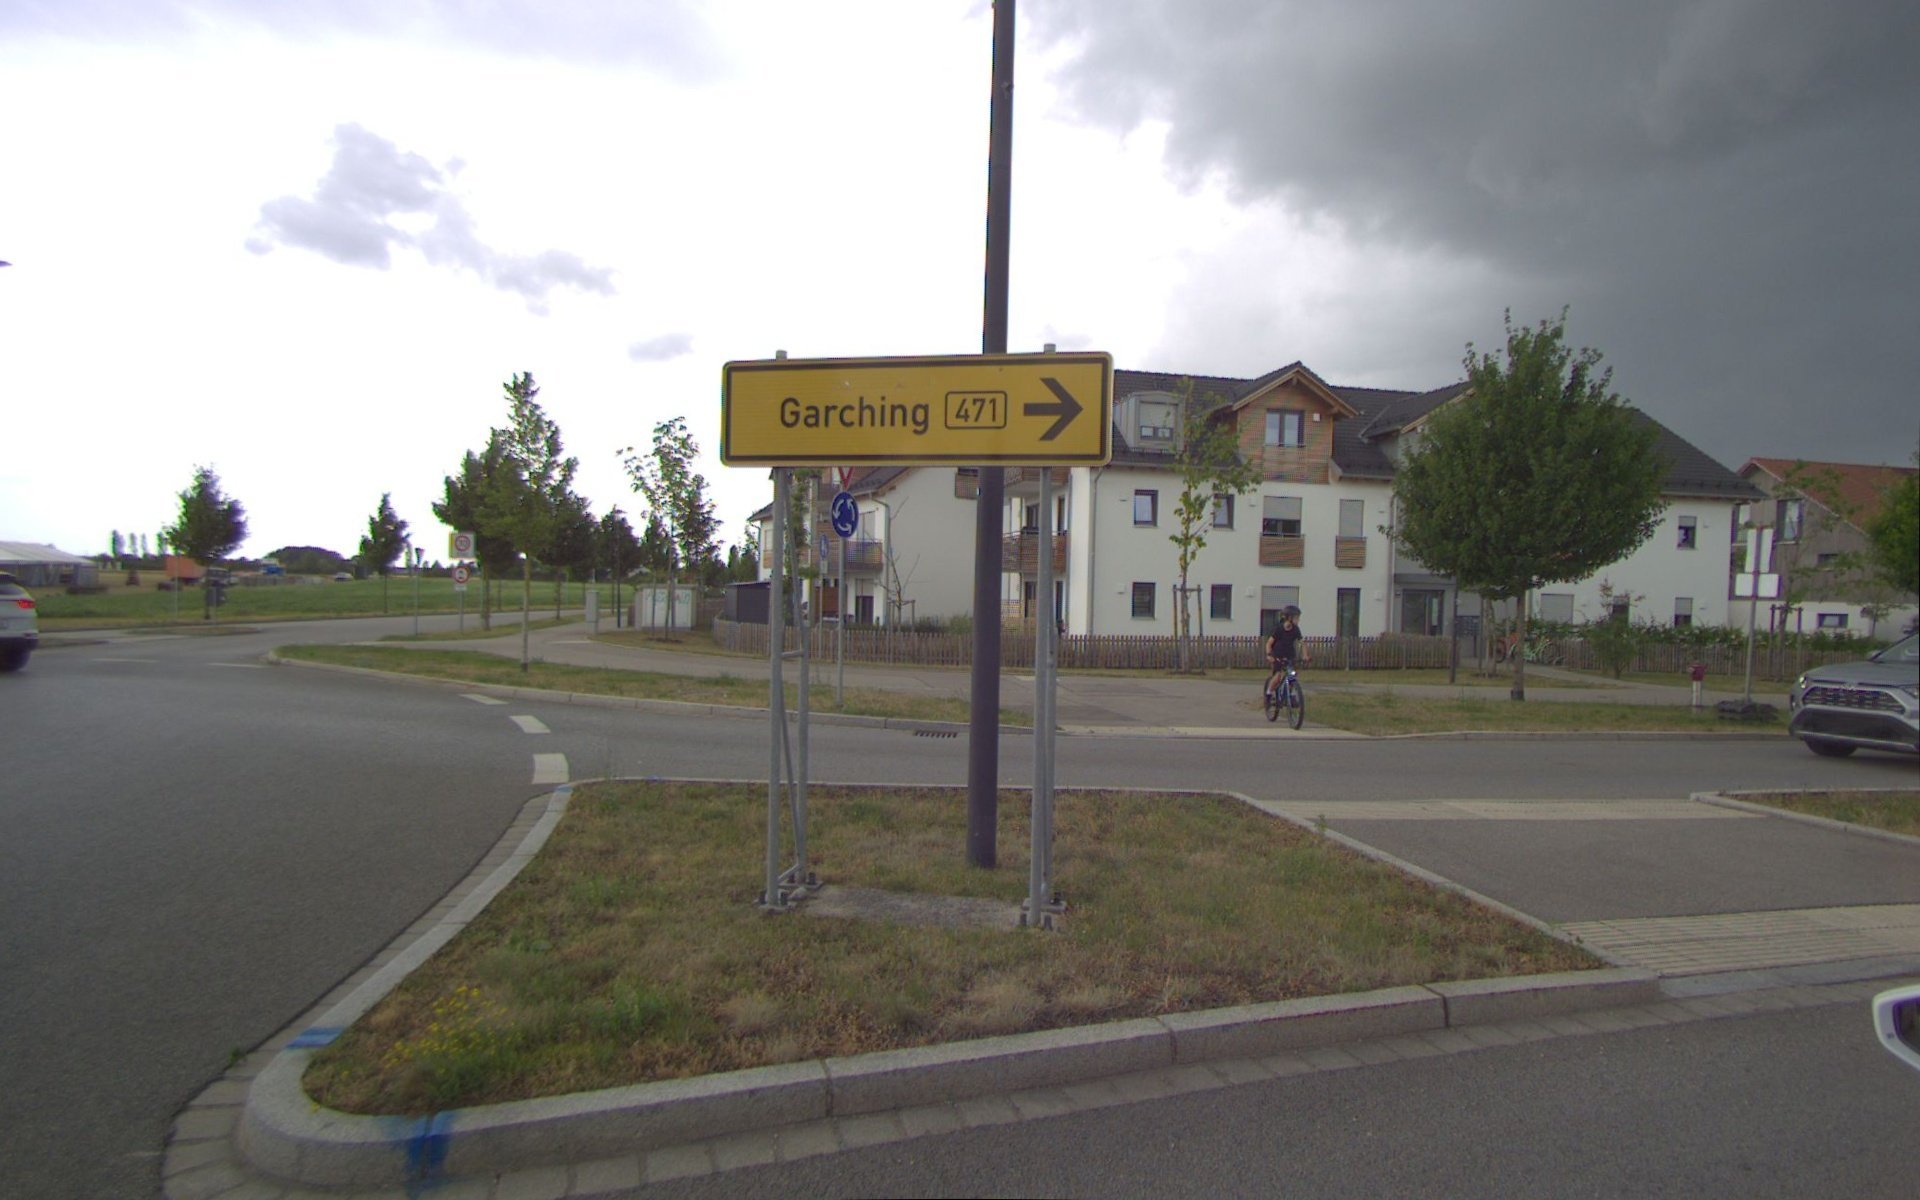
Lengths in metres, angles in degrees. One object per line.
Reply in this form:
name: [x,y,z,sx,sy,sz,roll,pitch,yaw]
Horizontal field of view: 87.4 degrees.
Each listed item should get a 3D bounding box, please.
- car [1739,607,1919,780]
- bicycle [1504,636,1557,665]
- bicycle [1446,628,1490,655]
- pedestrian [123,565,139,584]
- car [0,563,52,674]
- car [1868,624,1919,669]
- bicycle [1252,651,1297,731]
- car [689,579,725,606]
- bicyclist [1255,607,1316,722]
car: [11.739,1.008,11.499,4.554,1.726,1.995,2,0,-12]
bicycle: [17.718,1.570,31.184,1.519,0.854,0.368,2,3,-11]
bicycle: [17.156,1.395,33.929,1.314,0.854,0.368,2,3,-11]
pedestrian: [-91.467,-2.779,110.843,1.037,2.041,1.054,1,1,-24]
car: [-16.431,0.205,15.294,4.360,1.648,1.715,2,1,14]
car: [41.753,2.029,42.933,4.383,1.795,1.997,2,1,-8]
bicycle: [4.292,1.196,13.661,0.487,0.959,1.714,1,-1,20]
car: [-23.014,-0.722,91.557,1.960,2.284,4.571,2,2,2]
bicyclist: [4.358,0.830,13.427,0.710,1.466,0.869,1,0,21]
